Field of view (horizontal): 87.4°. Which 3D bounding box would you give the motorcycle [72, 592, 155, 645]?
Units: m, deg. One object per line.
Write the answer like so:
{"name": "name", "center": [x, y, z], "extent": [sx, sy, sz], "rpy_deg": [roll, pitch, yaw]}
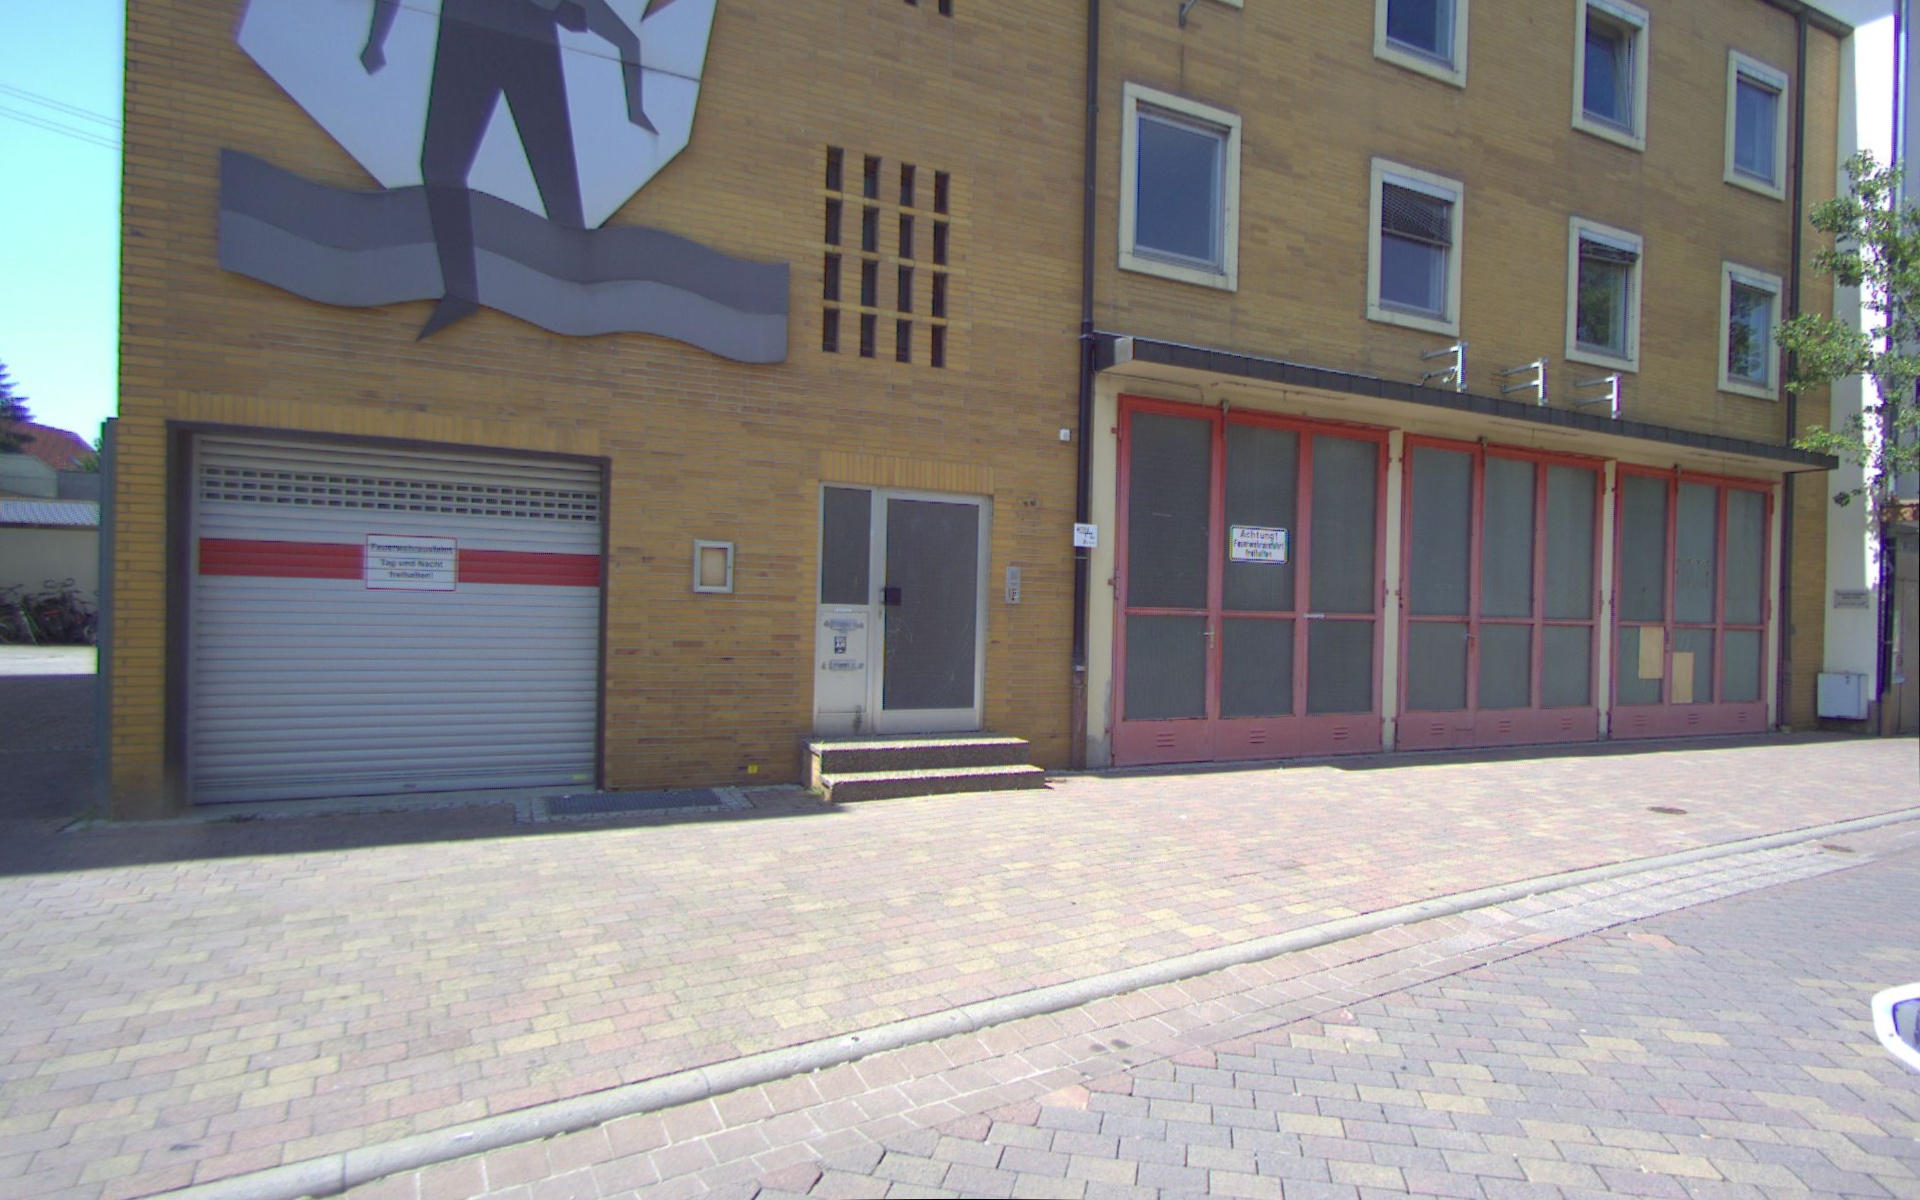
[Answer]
{"name": "motorcycle", "center": [-19.103, 0.406, 22.723], "extent": [0.798, 1.123, 2.209], "rpy_deg": [2, 0, -23]}

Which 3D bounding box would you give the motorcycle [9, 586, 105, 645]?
{"name": "motorcycle", "center": [-19.982, 0.334, 22.291], "extent": [0.814, 1.225, 2.357], "rpy_deg": [2, 0, -23]}
